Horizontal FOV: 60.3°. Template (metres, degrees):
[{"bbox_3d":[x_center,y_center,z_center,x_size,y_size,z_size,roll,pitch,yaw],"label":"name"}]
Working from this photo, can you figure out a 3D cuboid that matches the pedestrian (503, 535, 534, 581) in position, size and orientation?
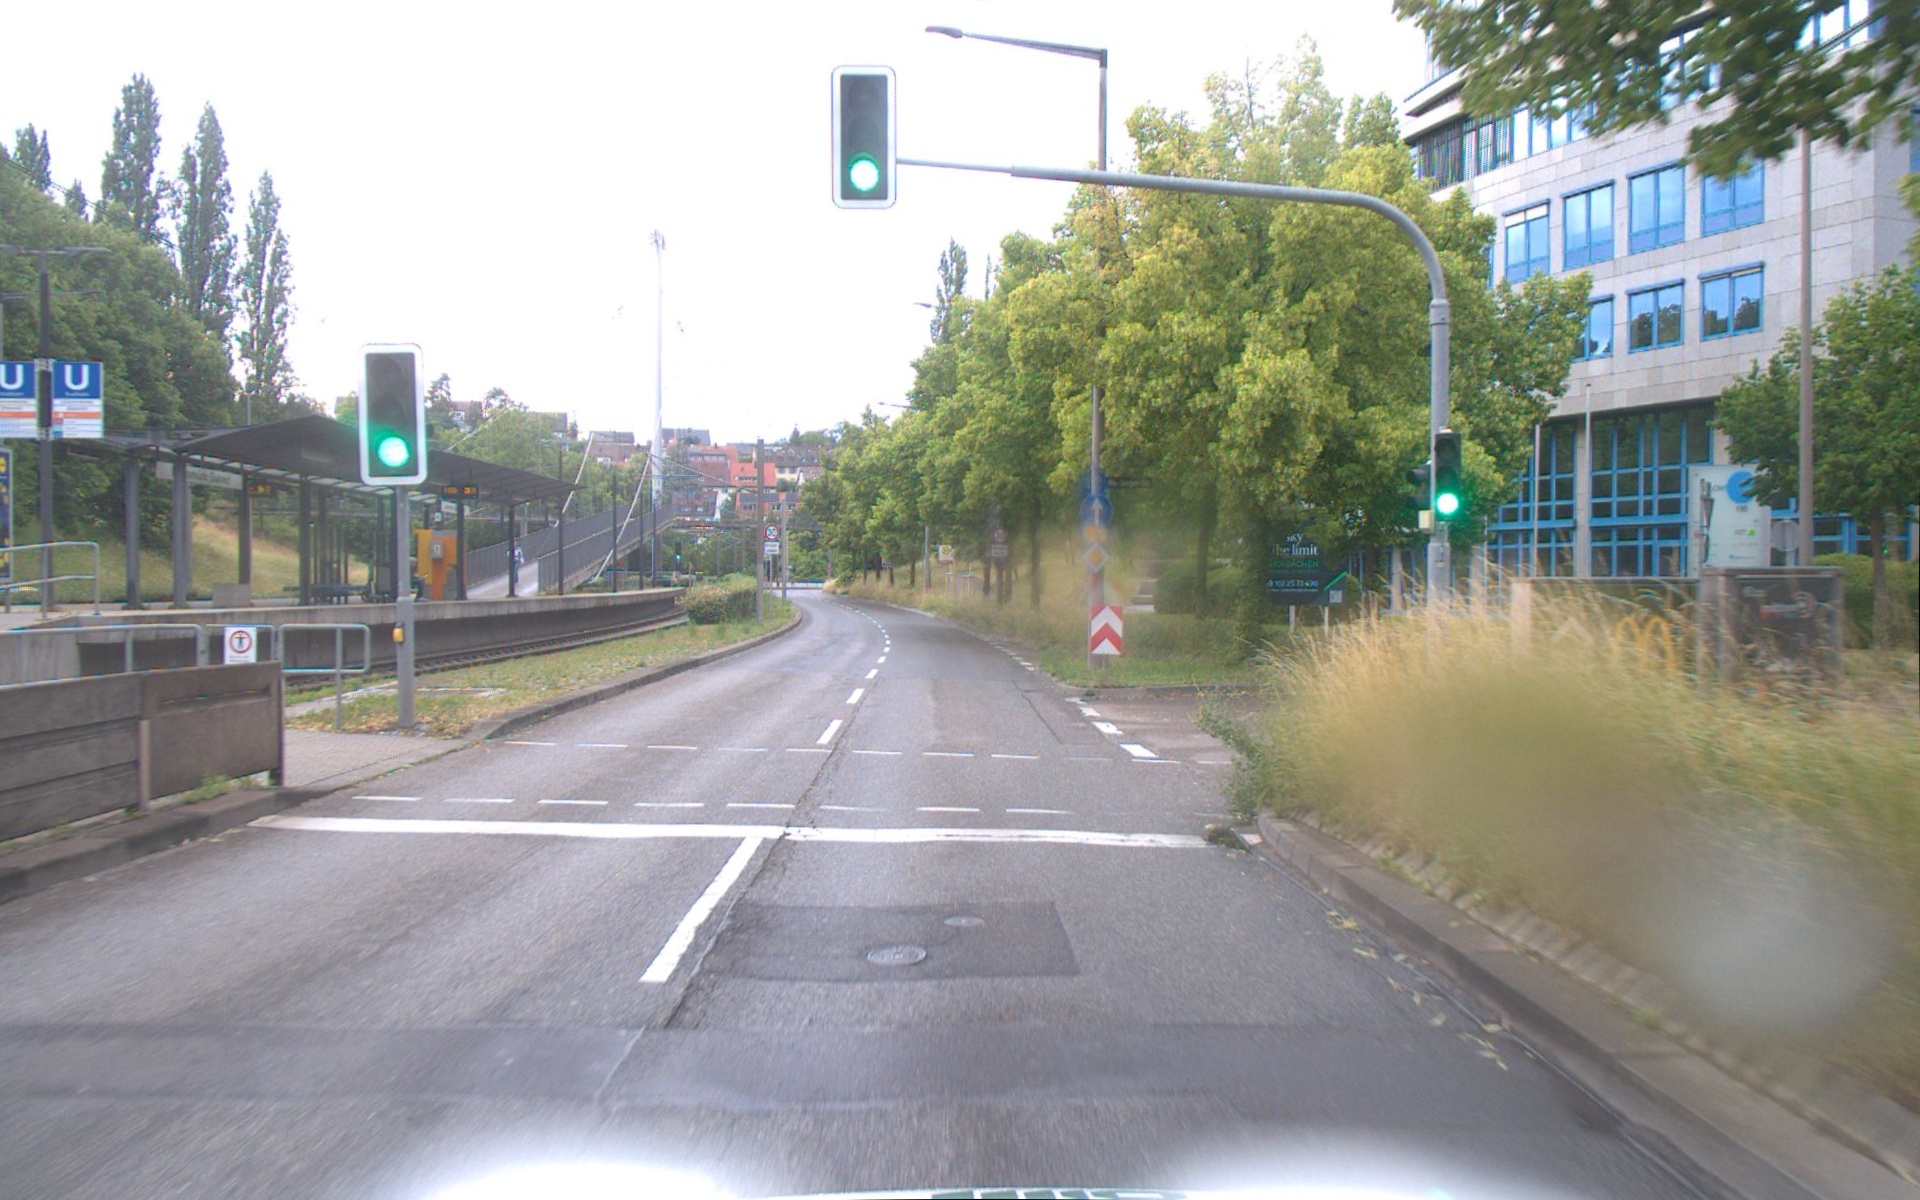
[{"bbox_3d":[-16.060,-1.529,60.154,0.917,1.639,1.026,1,0,-5],"label":"pedestrian"}]

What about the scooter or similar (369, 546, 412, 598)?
[{"bbox_3d":[-14.038,-0.693,40.751,1.277,1.239,0.377,2,-1,42],"label":"scooter or similar"}]

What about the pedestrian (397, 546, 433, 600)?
[{"bbox_3d":[-14.351,-0.708,43.582,0.738,1.379,0.691,1,0,-5],"label":"pedestrian"}]
